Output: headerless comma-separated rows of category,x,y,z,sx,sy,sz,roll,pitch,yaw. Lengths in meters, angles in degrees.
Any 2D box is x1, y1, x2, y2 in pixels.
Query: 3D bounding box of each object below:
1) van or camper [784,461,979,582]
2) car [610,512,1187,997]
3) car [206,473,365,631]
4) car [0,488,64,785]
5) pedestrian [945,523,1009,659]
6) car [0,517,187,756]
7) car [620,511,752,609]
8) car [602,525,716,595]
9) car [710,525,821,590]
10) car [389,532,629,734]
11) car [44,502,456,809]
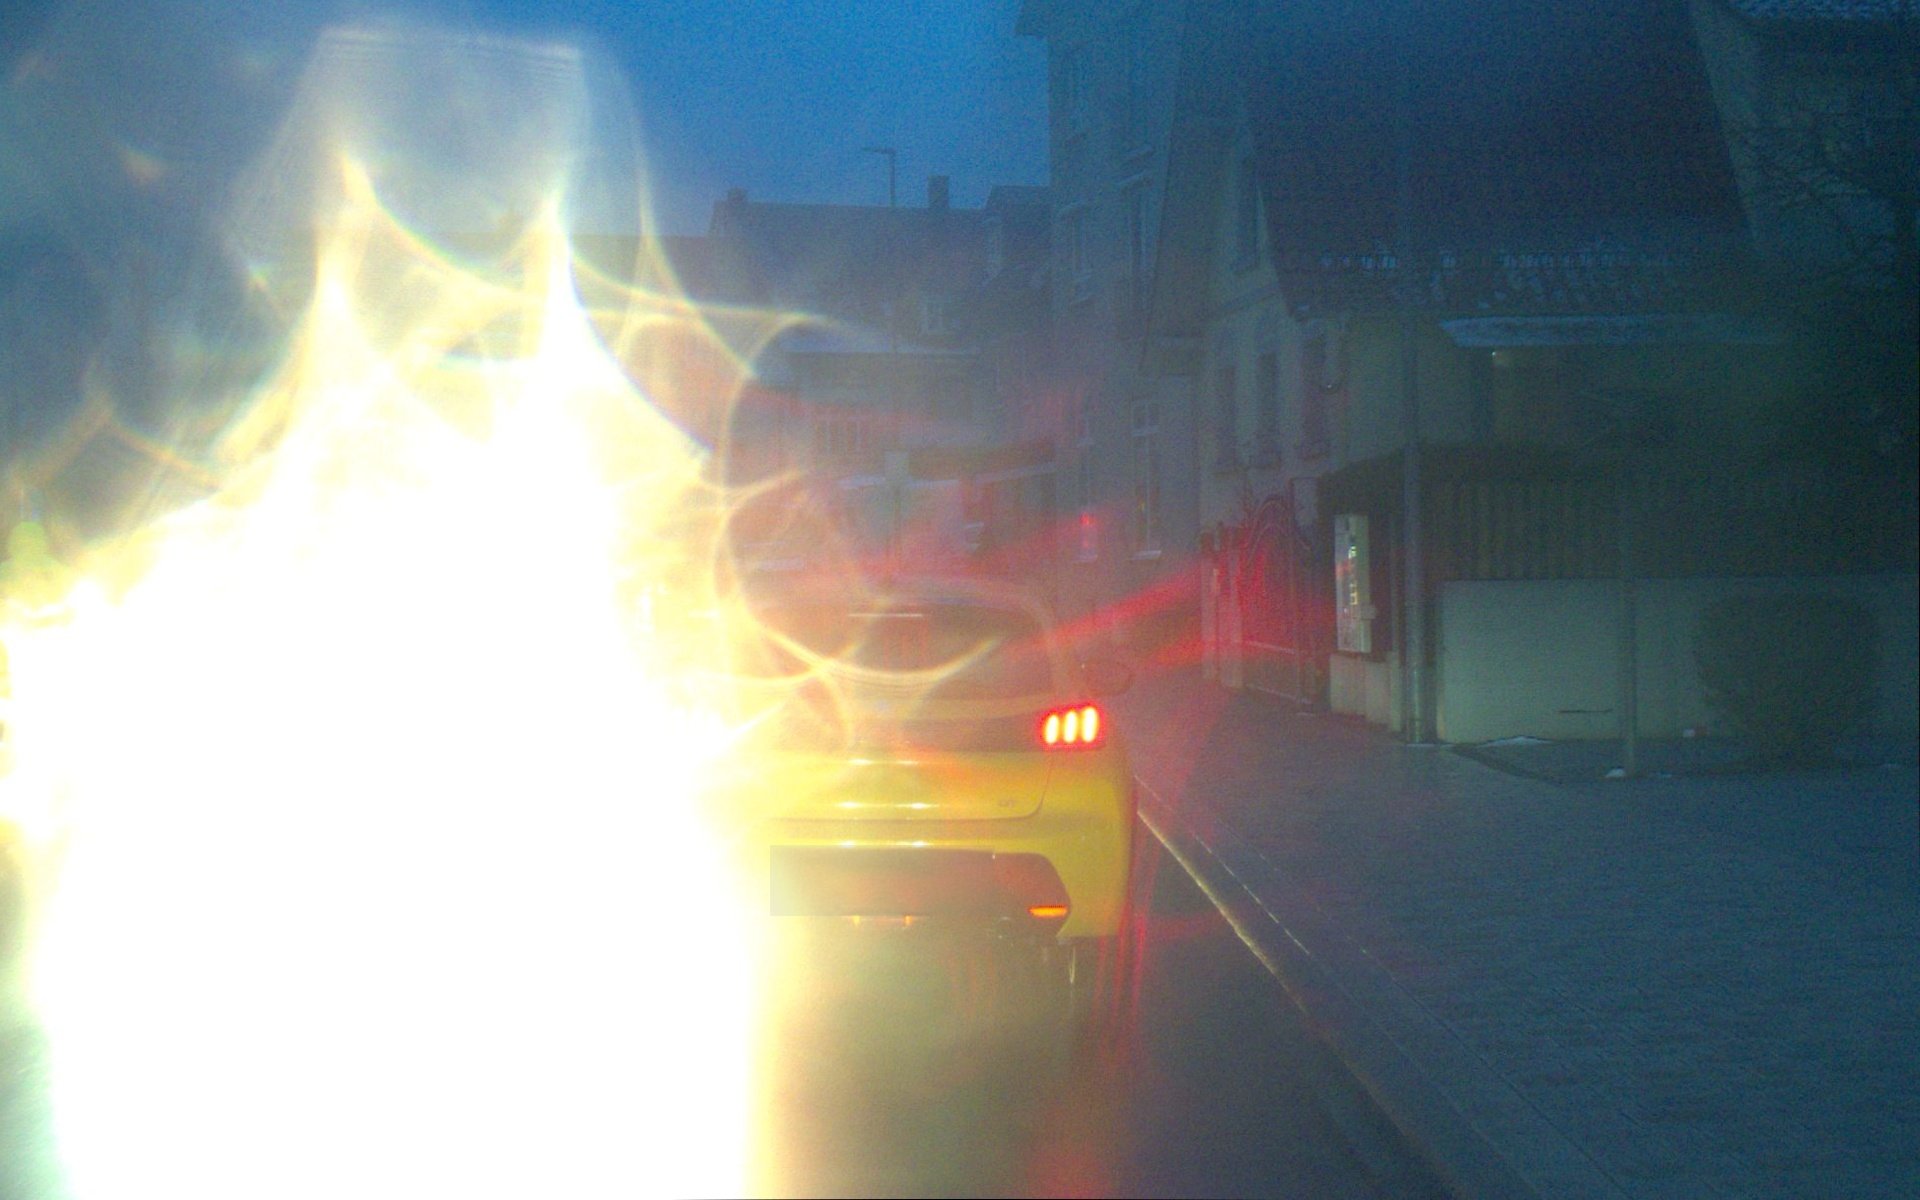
van or camper,-2.214,-2.124,93.783,2.650,3.037,6.735,-4,2,-25
car,-0.391,0.476,12.907,1.814,1.528,4.001,1,1,-6
car,-11.662,-0.787,59.855,2.485,2.551,6.763,1,0,-9
car,-6.830,0.210,20.752,2.085,1.786,5.025,0,1,-7
pedestrian,0.216,-0.123,44.473,0.745,1.723,0.873,-1,2,-6
car,-7.415,0.231,26.920,1.880,1.704,4.713,1,1,-3
car,-4.698,-0.680,58.490,1.993,1.583,4.001,1,1,-8
car,-8.121,-1.084,92.420,1.993,1.759,4.352,-3,2,-19
car,-5.280,-1.136,92.894,1.993,1.605,4.175,-3,0,-17
car,-4.186,0.244,32.516,1.951,1.541,4.417,-2,4,-4
car,-4.520,0.260,22.627,1.993,1.700,4.968,2,2,-4
